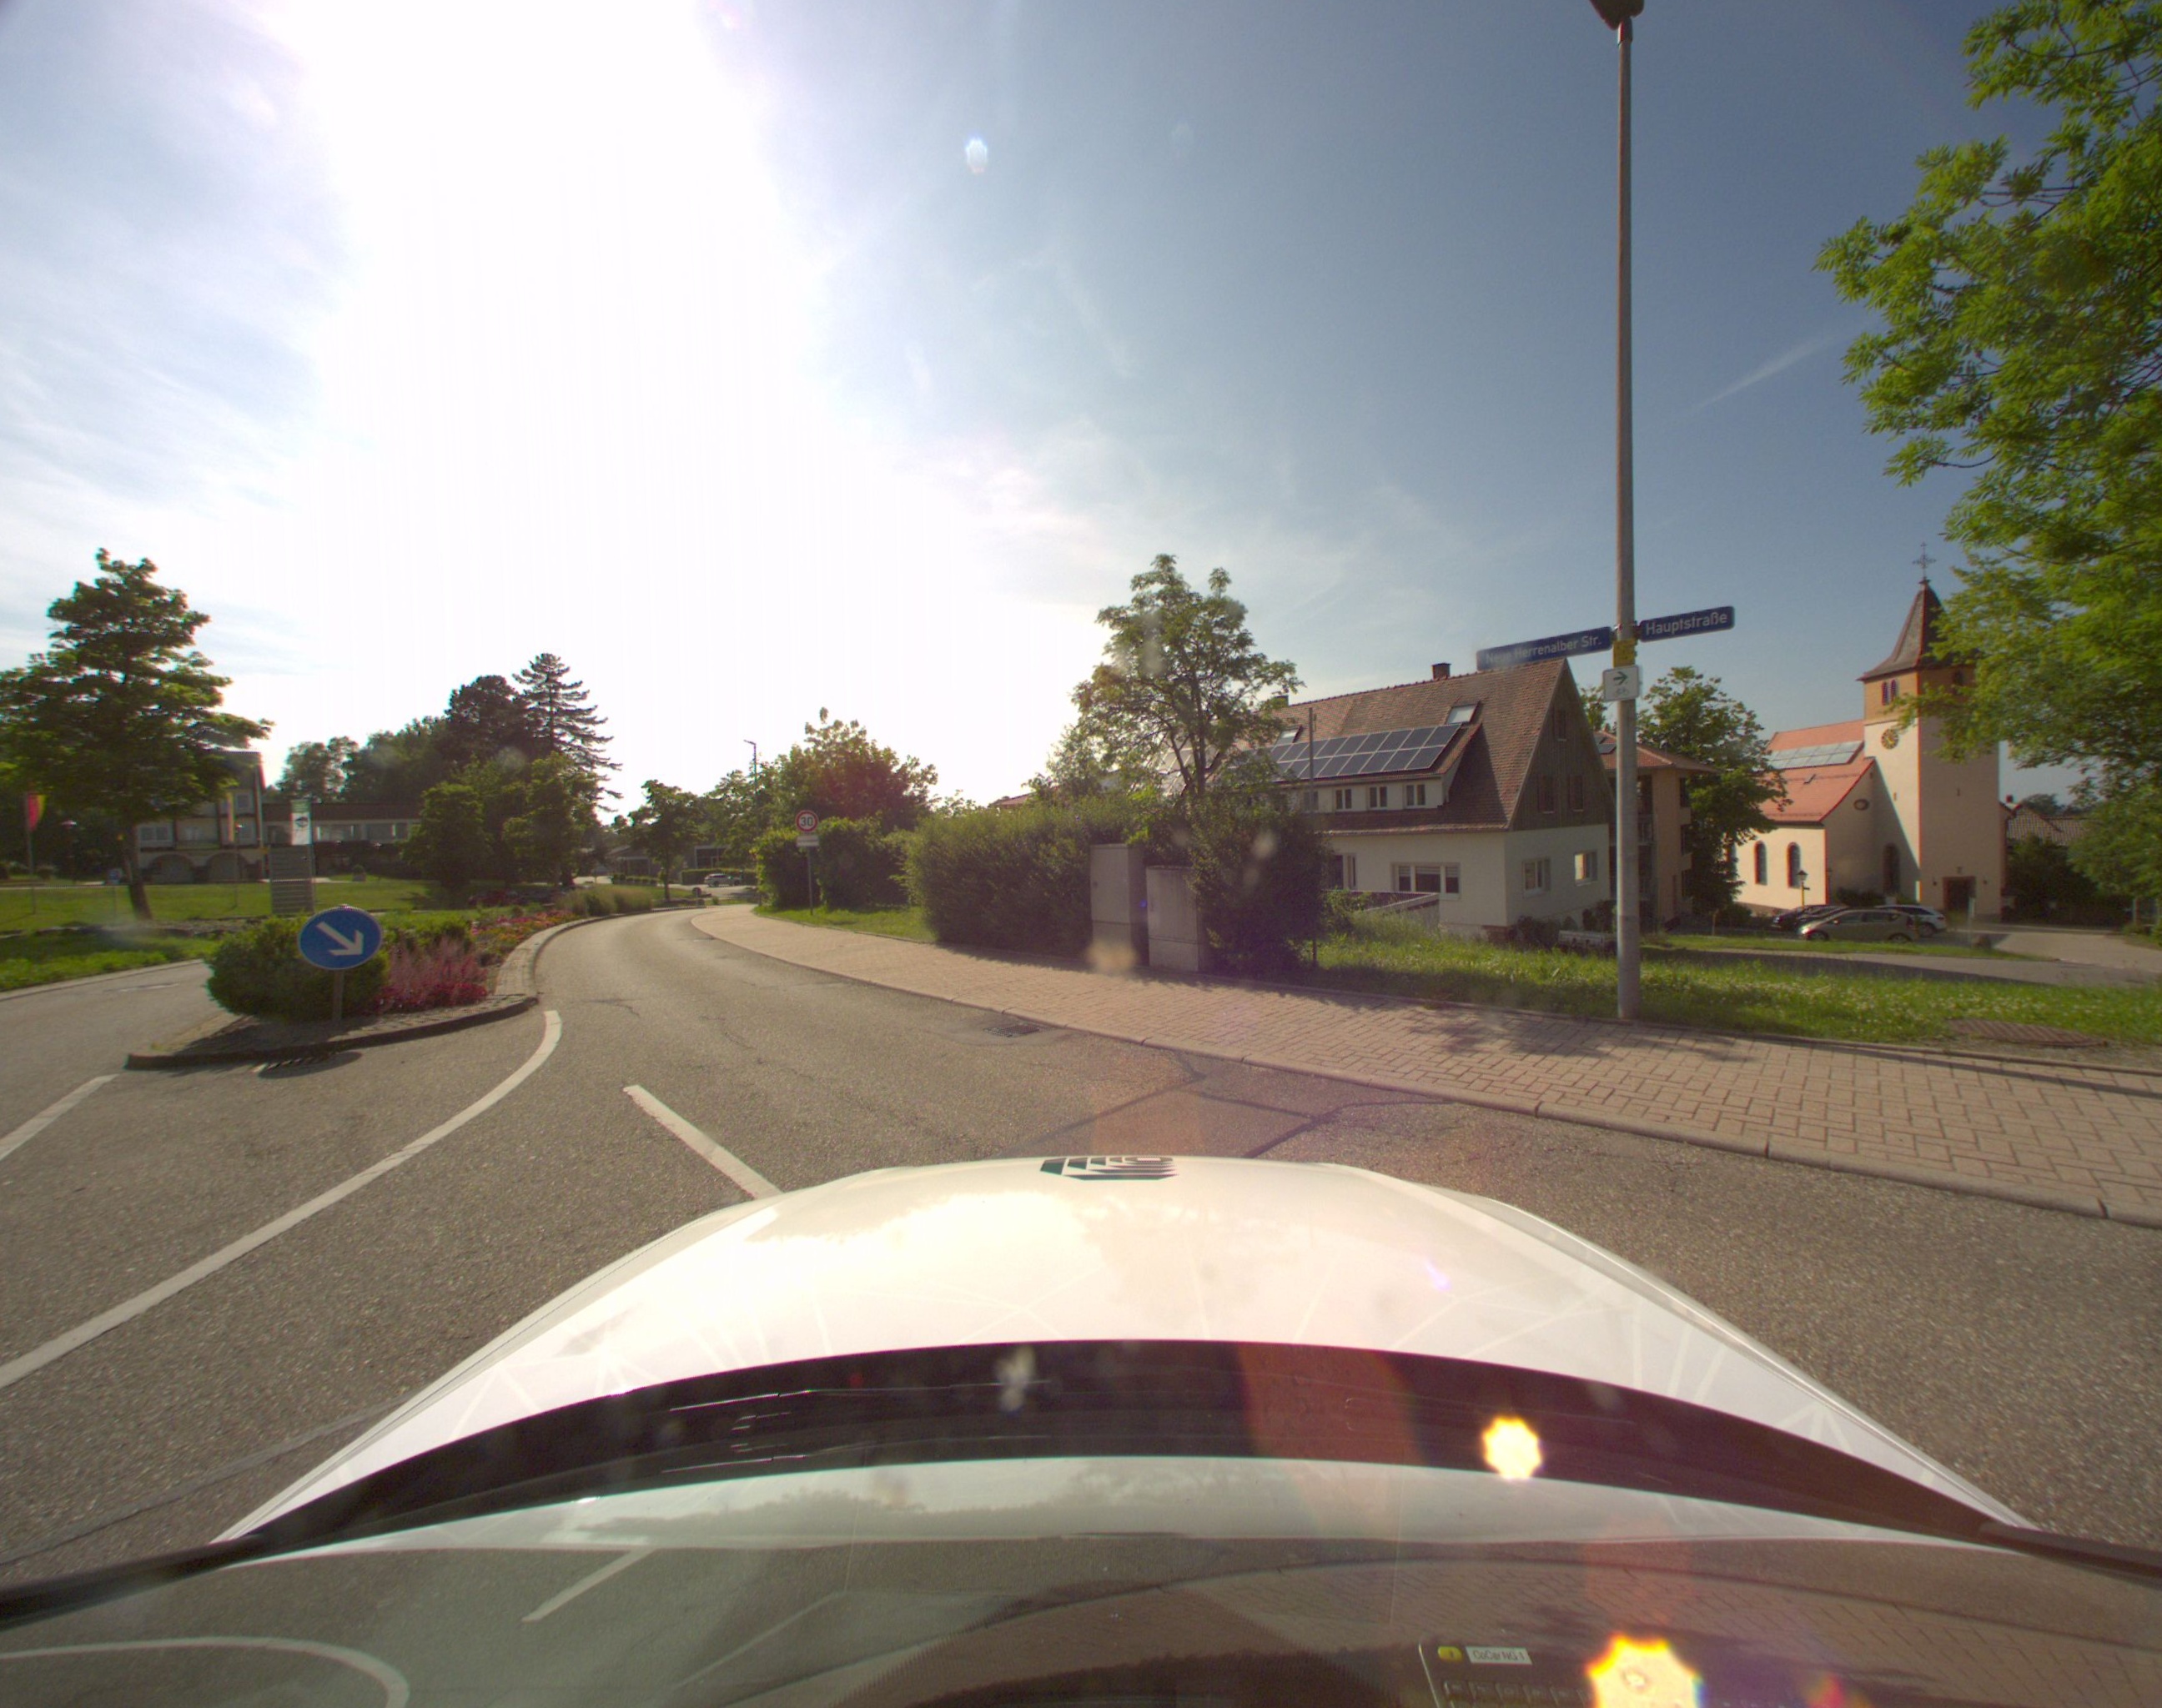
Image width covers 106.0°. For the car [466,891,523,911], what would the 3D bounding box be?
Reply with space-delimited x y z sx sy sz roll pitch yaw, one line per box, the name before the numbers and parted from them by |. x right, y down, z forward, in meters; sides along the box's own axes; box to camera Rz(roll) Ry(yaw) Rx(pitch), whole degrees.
car | -45.357 3.636 63.033 3.180 1.470 1.780 -1 -2 7

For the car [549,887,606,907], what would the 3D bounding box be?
car | -43.538 3.727 70.445 3.906 1.609 1.780 -1 -2 8

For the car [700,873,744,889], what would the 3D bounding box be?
car | -45.461 3.416 103.181 1.975 1.534 4.760 3 4 42

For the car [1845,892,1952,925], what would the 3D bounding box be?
car | 42.914 2.856 42.883 3.736 1.594 1.724 -3 -2 39

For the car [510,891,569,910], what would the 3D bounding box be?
car | -44.142 3.791 66.411 3.679 1.434 1.780 -1 -2 9

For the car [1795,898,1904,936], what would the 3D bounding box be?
car | 38.110 3.086 40.526 3.736 1.758 1.724 -3 -2 39

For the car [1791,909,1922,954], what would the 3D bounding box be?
car | 34.247 3.389 36.123 4.051 1.758 1.724 -3 -2 40
